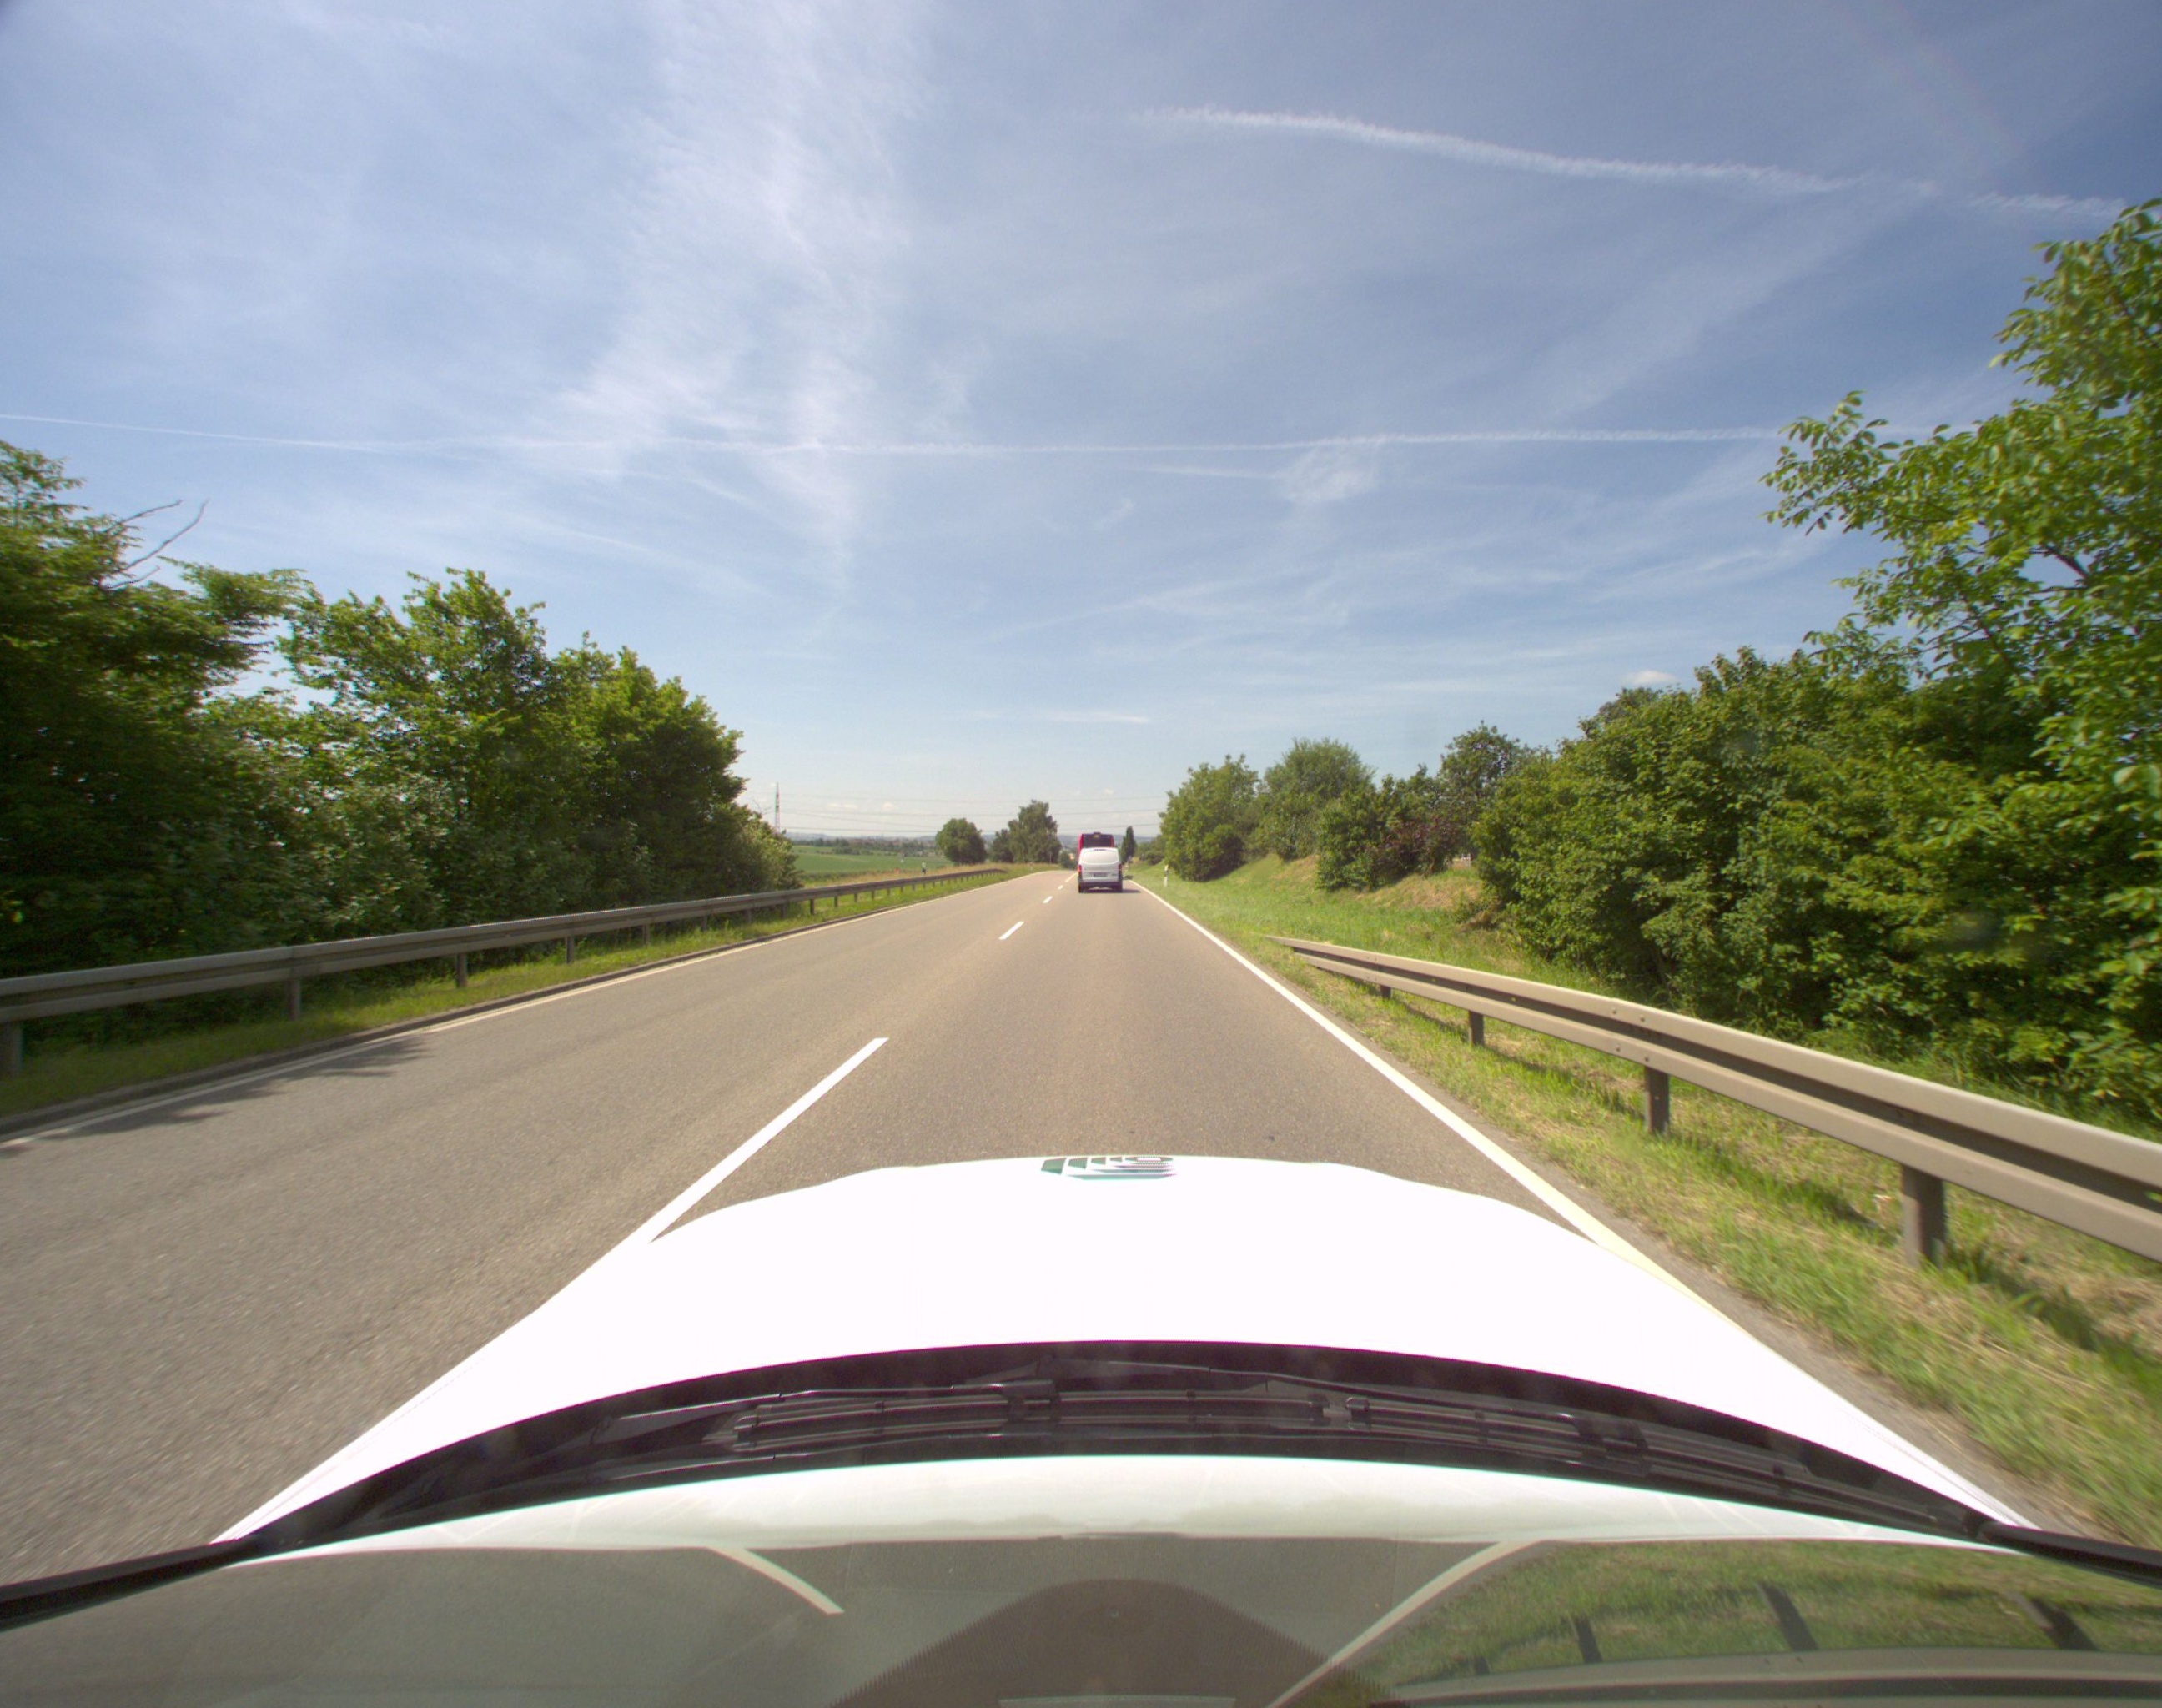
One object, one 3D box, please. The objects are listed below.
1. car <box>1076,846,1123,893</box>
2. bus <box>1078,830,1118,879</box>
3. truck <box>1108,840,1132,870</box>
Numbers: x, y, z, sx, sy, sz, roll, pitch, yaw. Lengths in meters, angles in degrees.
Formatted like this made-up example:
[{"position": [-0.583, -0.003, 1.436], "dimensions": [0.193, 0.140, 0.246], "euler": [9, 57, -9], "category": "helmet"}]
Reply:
[{"position": [0.852, 0.607, 35.426], "dimensions": [1.915, 1.889, 4.003], "euler": [0, 1, 3], "category": "car"}, {"position": [1.227, -0.034, 63.229], "dimensions": [2.738, 3.353, 13.221], "euler": [-1, 1, 0], "category": "bus"}, {"position": [6.061, 0.227, 129.402], "dimensions": [3.475, 4.423, 14.907], "euler": [0, -1, 2], "category": "truck"}]
